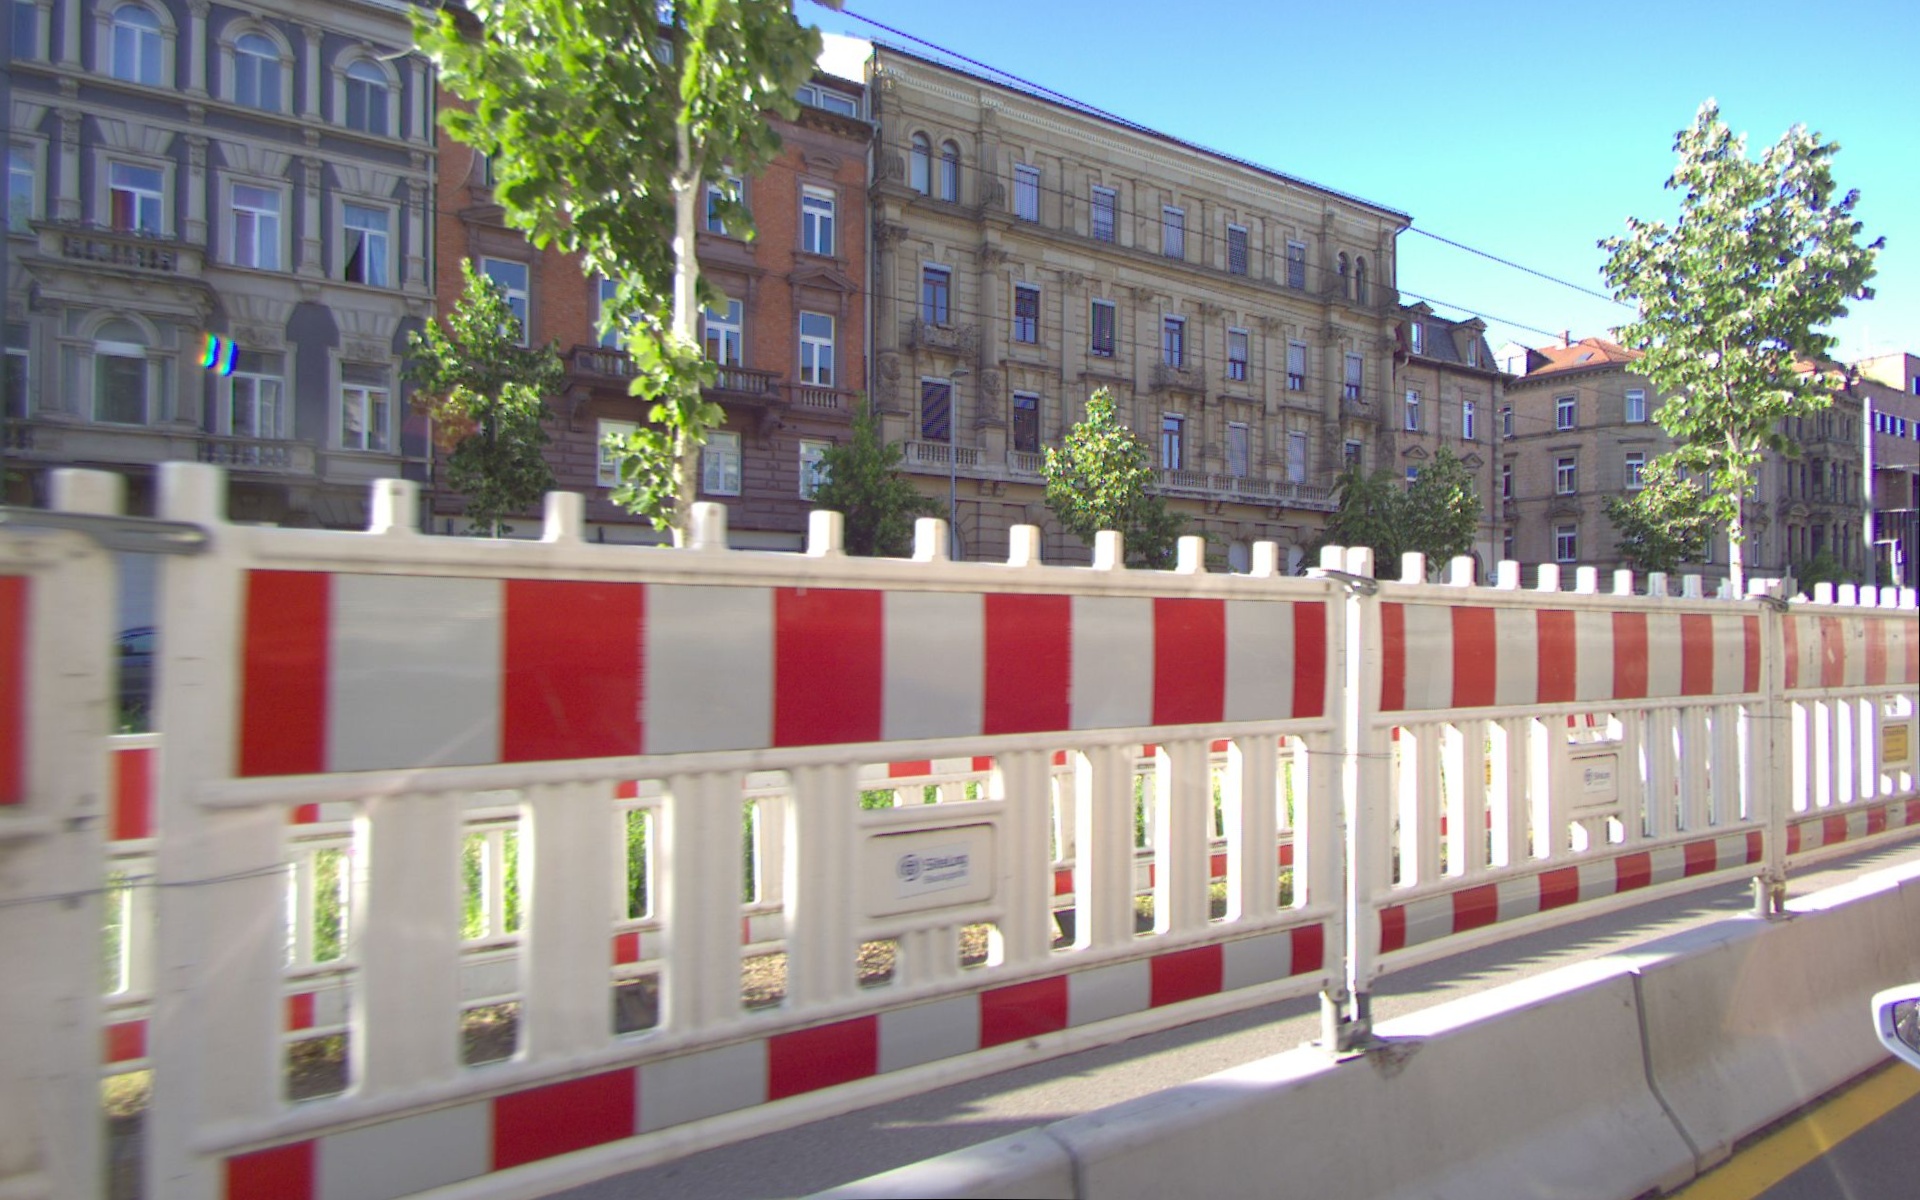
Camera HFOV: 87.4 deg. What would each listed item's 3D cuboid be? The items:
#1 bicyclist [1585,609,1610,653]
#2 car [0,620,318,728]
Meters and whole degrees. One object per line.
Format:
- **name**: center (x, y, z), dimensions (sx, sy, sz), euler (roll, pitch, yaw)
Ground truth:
- **bicyclist**: center (26.960, 1.306, 42.496), dimensions (0.870, 1.797, 0.853), euler (0, -1, 34)
- **car**: center (-14.210, 1.237, 17.892), dimensions (4.488, 1.680, 1.930), euler (1, 0, -29)
